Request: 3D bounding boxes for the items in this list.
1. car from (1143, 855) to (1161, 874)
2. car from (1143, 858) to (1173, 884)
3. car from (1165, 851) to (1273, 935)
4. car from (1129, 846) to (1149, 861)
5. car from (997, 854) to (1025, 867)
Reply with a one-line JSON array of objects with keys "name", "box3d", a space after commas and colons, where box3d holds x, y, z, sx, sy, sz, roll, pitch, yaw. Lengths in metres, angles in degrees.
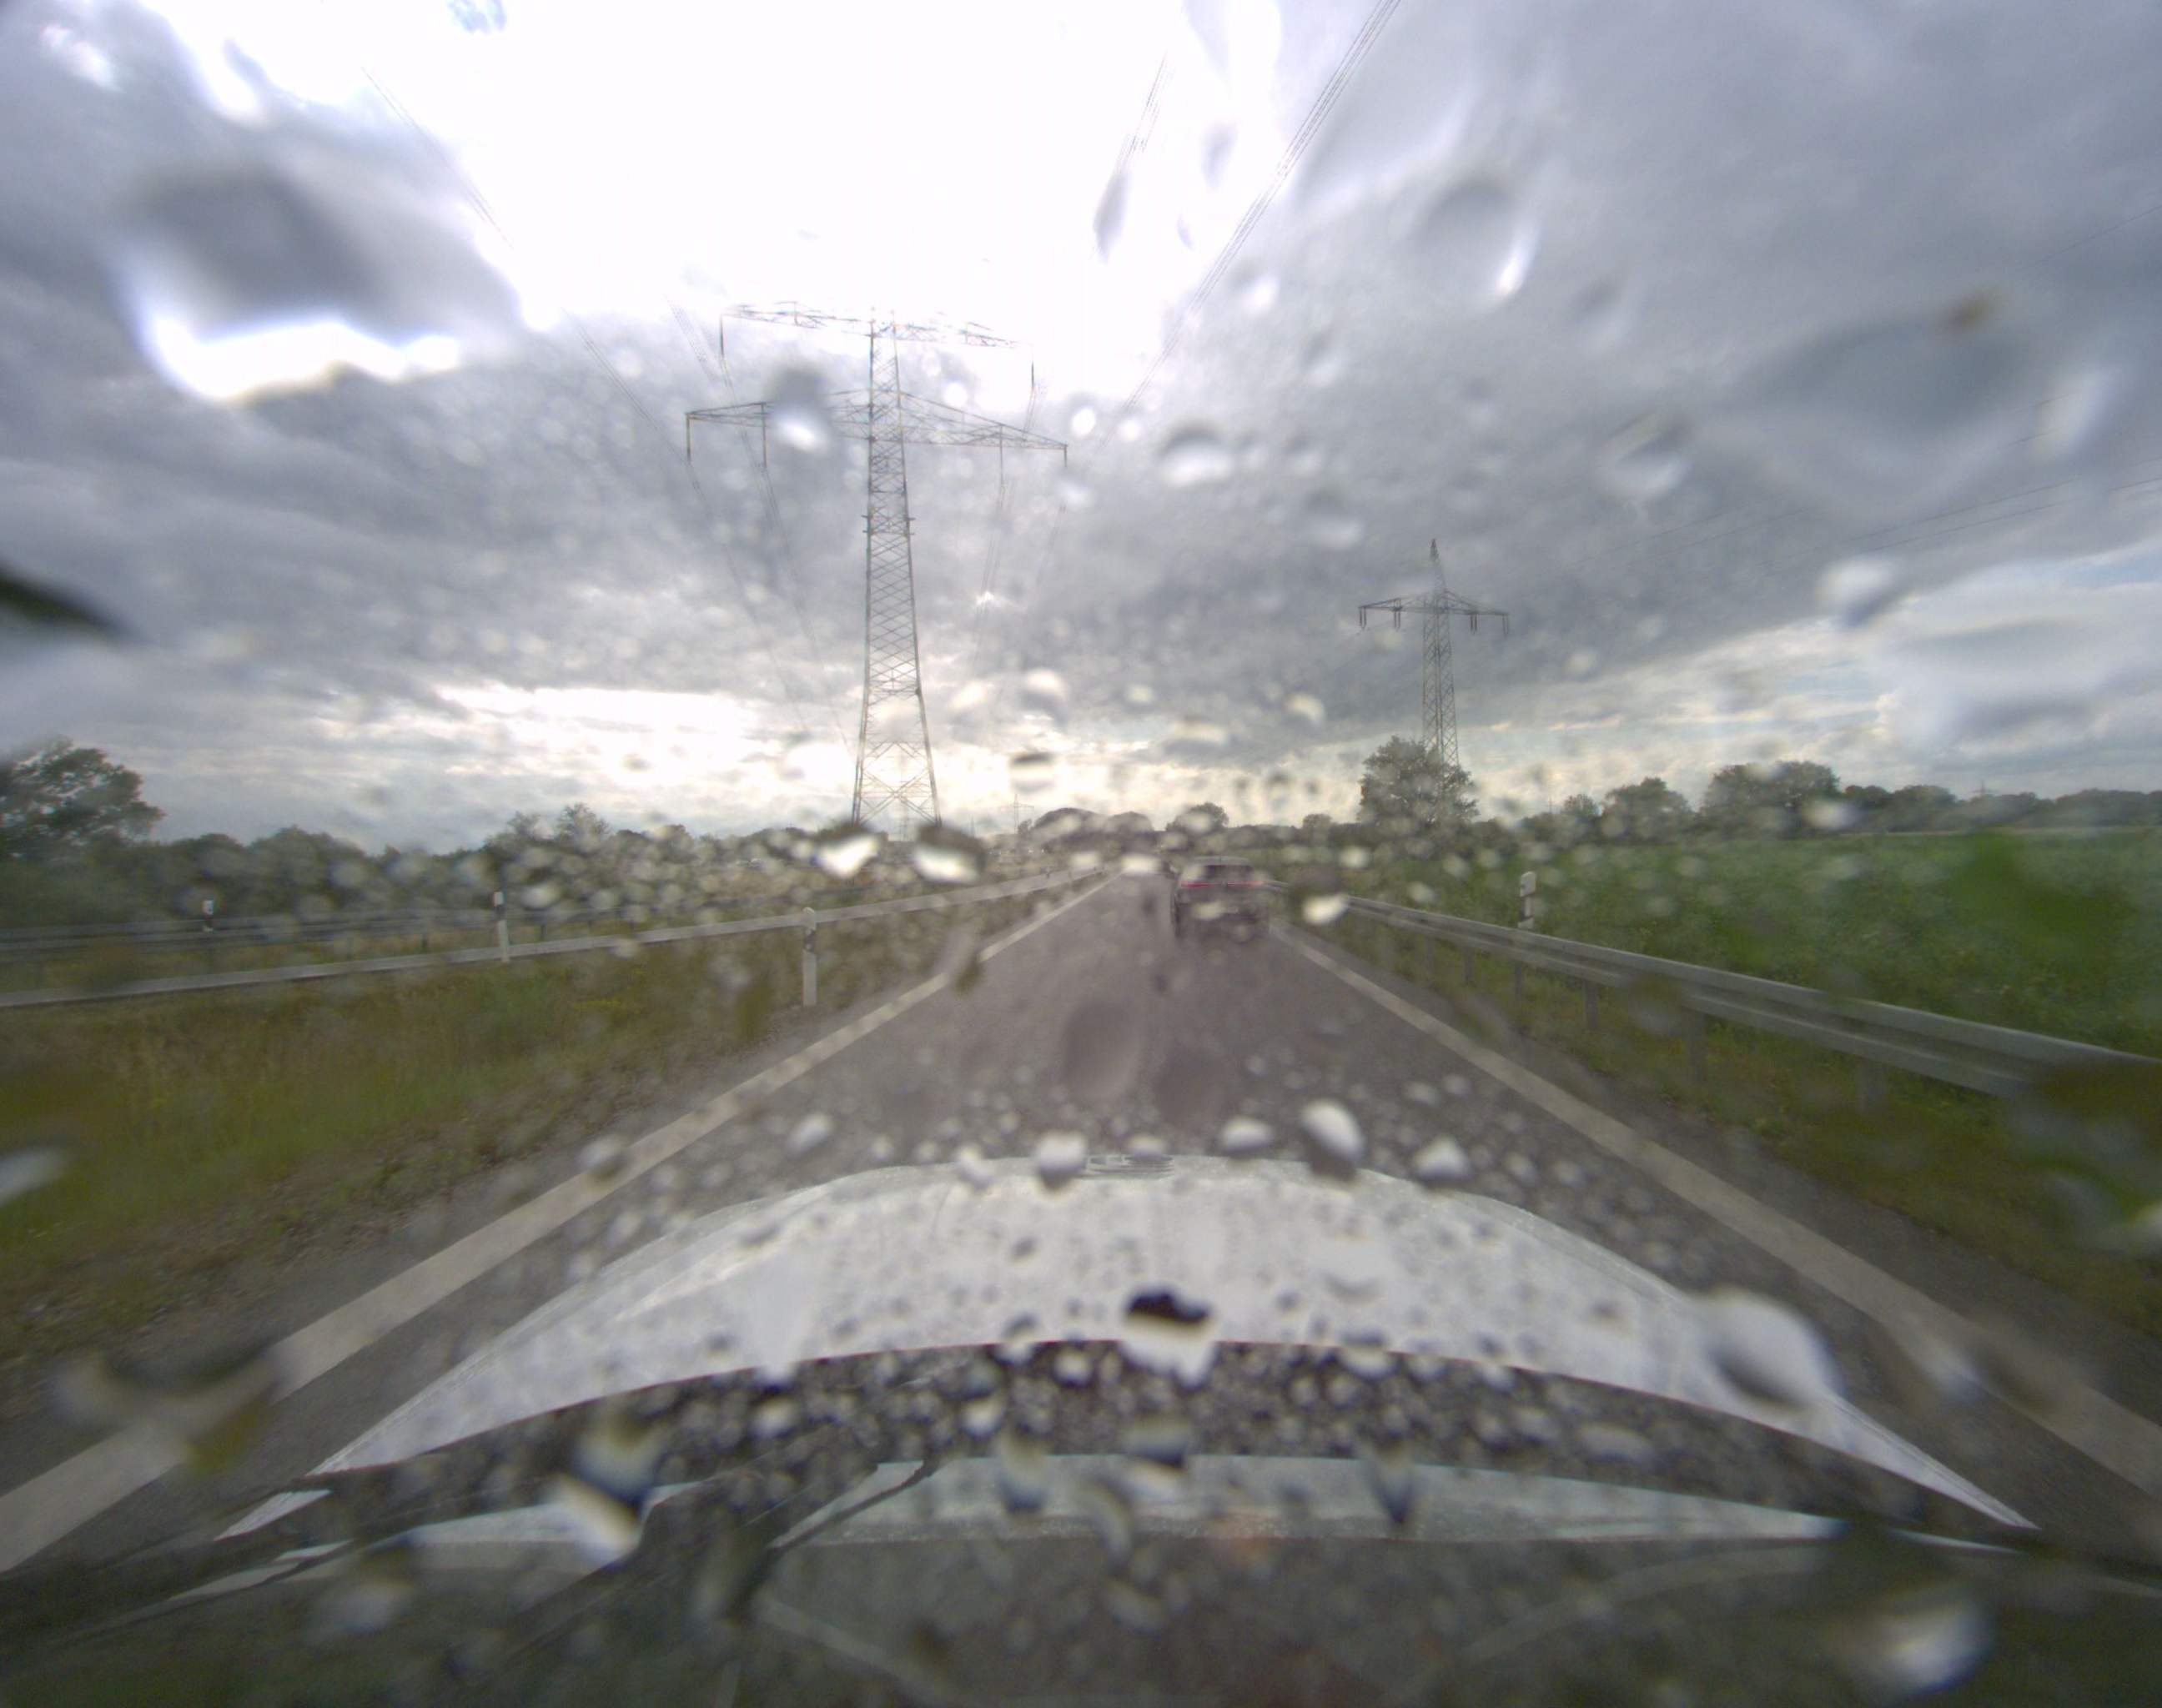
[{"name": "car", "box3d": [9.755, 1.476, 112.326, 2.340, 2.306, 5.136, -1, 2, 4]}, {"name": "car", "box3d": [6.356, 1.382, 67.945, 2.113, 2.018, 5.537, -2, 0, 2]}, {"name": "car", "box3d": [2.824, 0.717, 17.213, 1.983, 1.566, 4.157, 0, 0, 7]}, {"name": "car", "box3d": [12.756, -0.222, 180.225, 3.133, 2.951, 7.193, -2, 2, -7]}, {"name": "car", "box3d": [-20.449, 1.931, 237.251, 3.413, 3.610, 8.934, -1, 0, -43]}]
